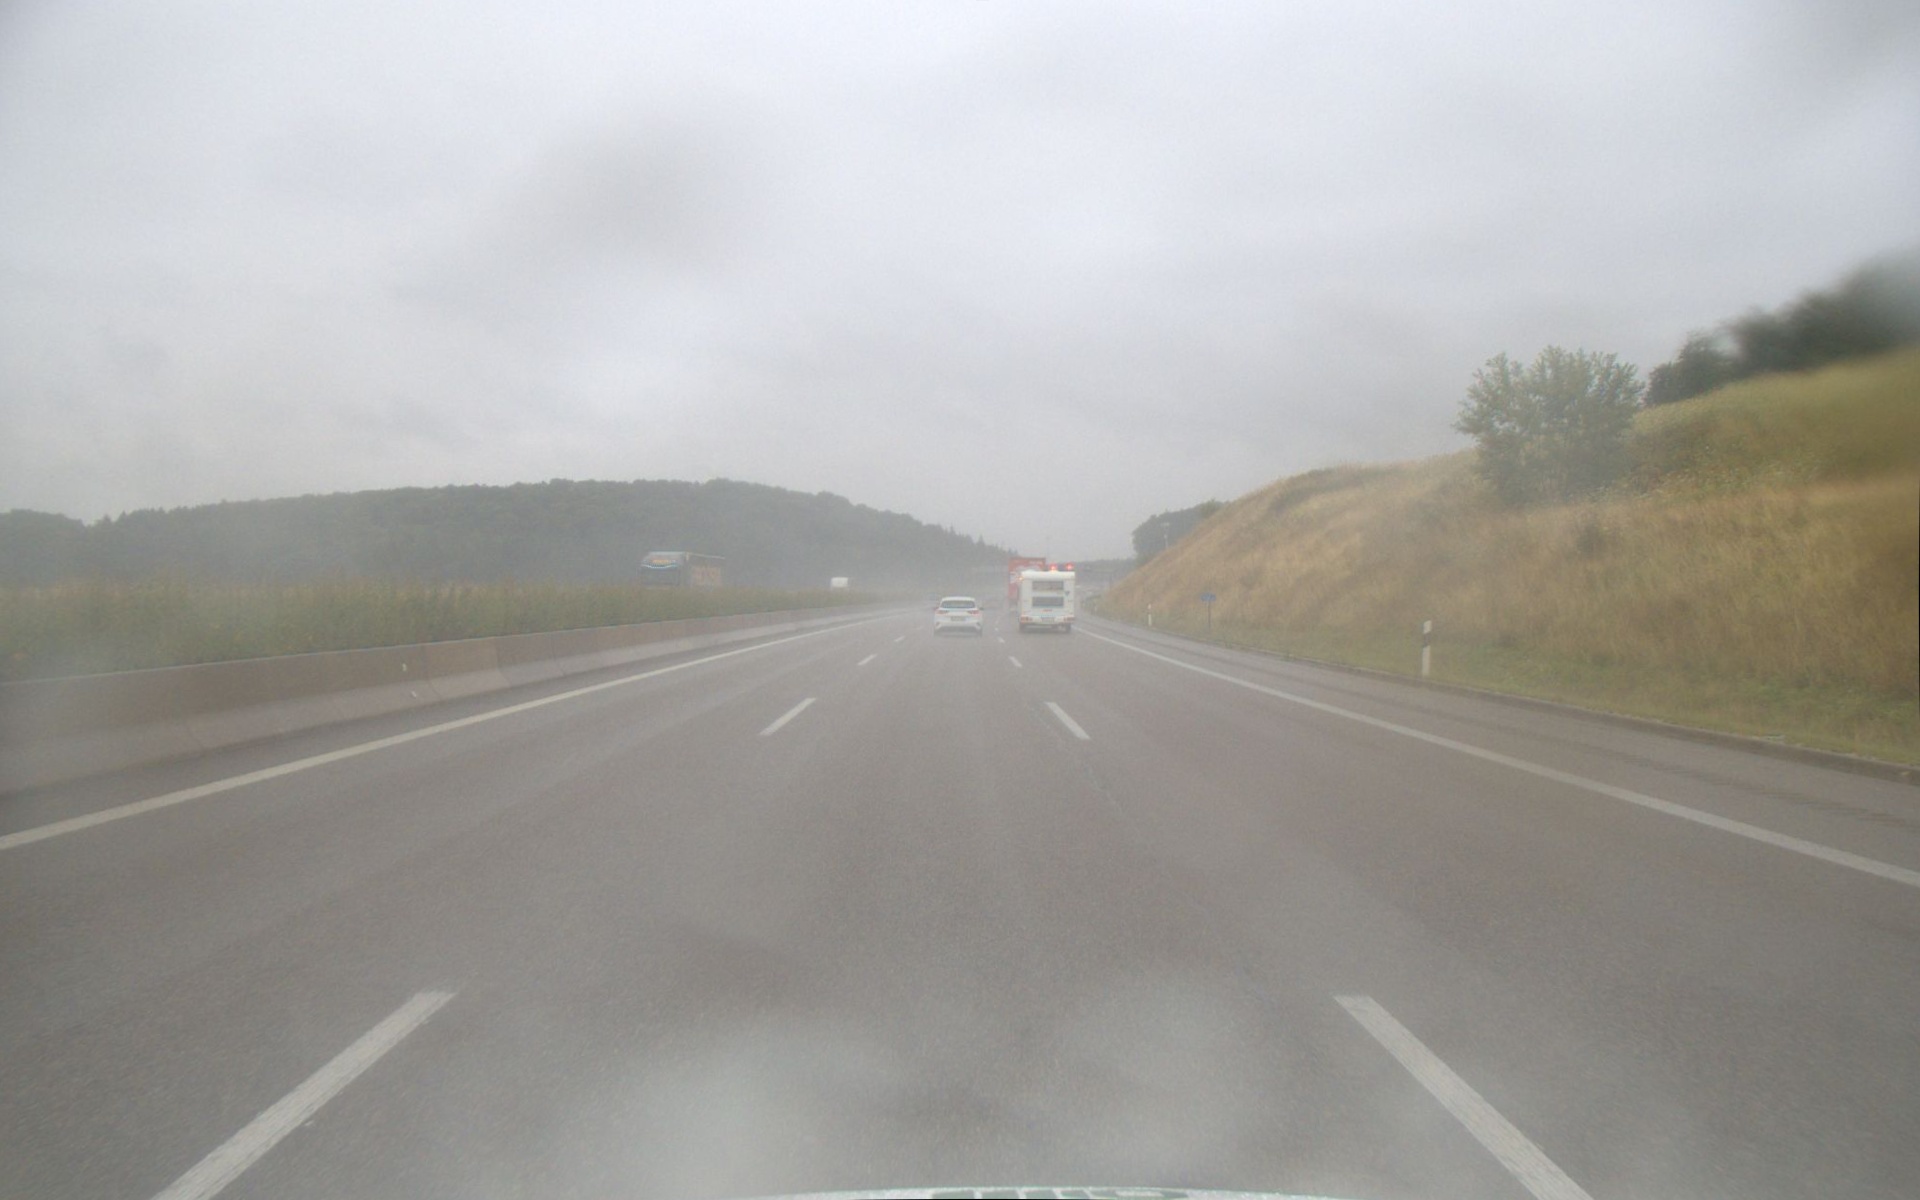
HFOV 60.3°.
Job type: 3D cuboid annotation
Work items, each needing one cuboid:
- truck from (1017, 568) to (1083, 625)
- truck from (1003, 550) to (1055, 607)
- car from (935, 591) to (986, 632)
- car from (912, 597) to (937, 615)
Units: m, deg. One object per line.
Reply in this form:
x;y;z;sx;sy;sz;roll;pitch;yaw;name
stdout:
3.705;-0.129;69.162;2.359;2.292;4.691;0;0;-2;truck
4.812;-1.550;117.762;3.454;3.808;11.429;1;1;2;truck
-0.008;0.430;61.458;1.829;1.488;3.999;0;-1;-1;car
-2.565;0.452;121.734;1.786;1.177;4.212;1;-1;-1;car
